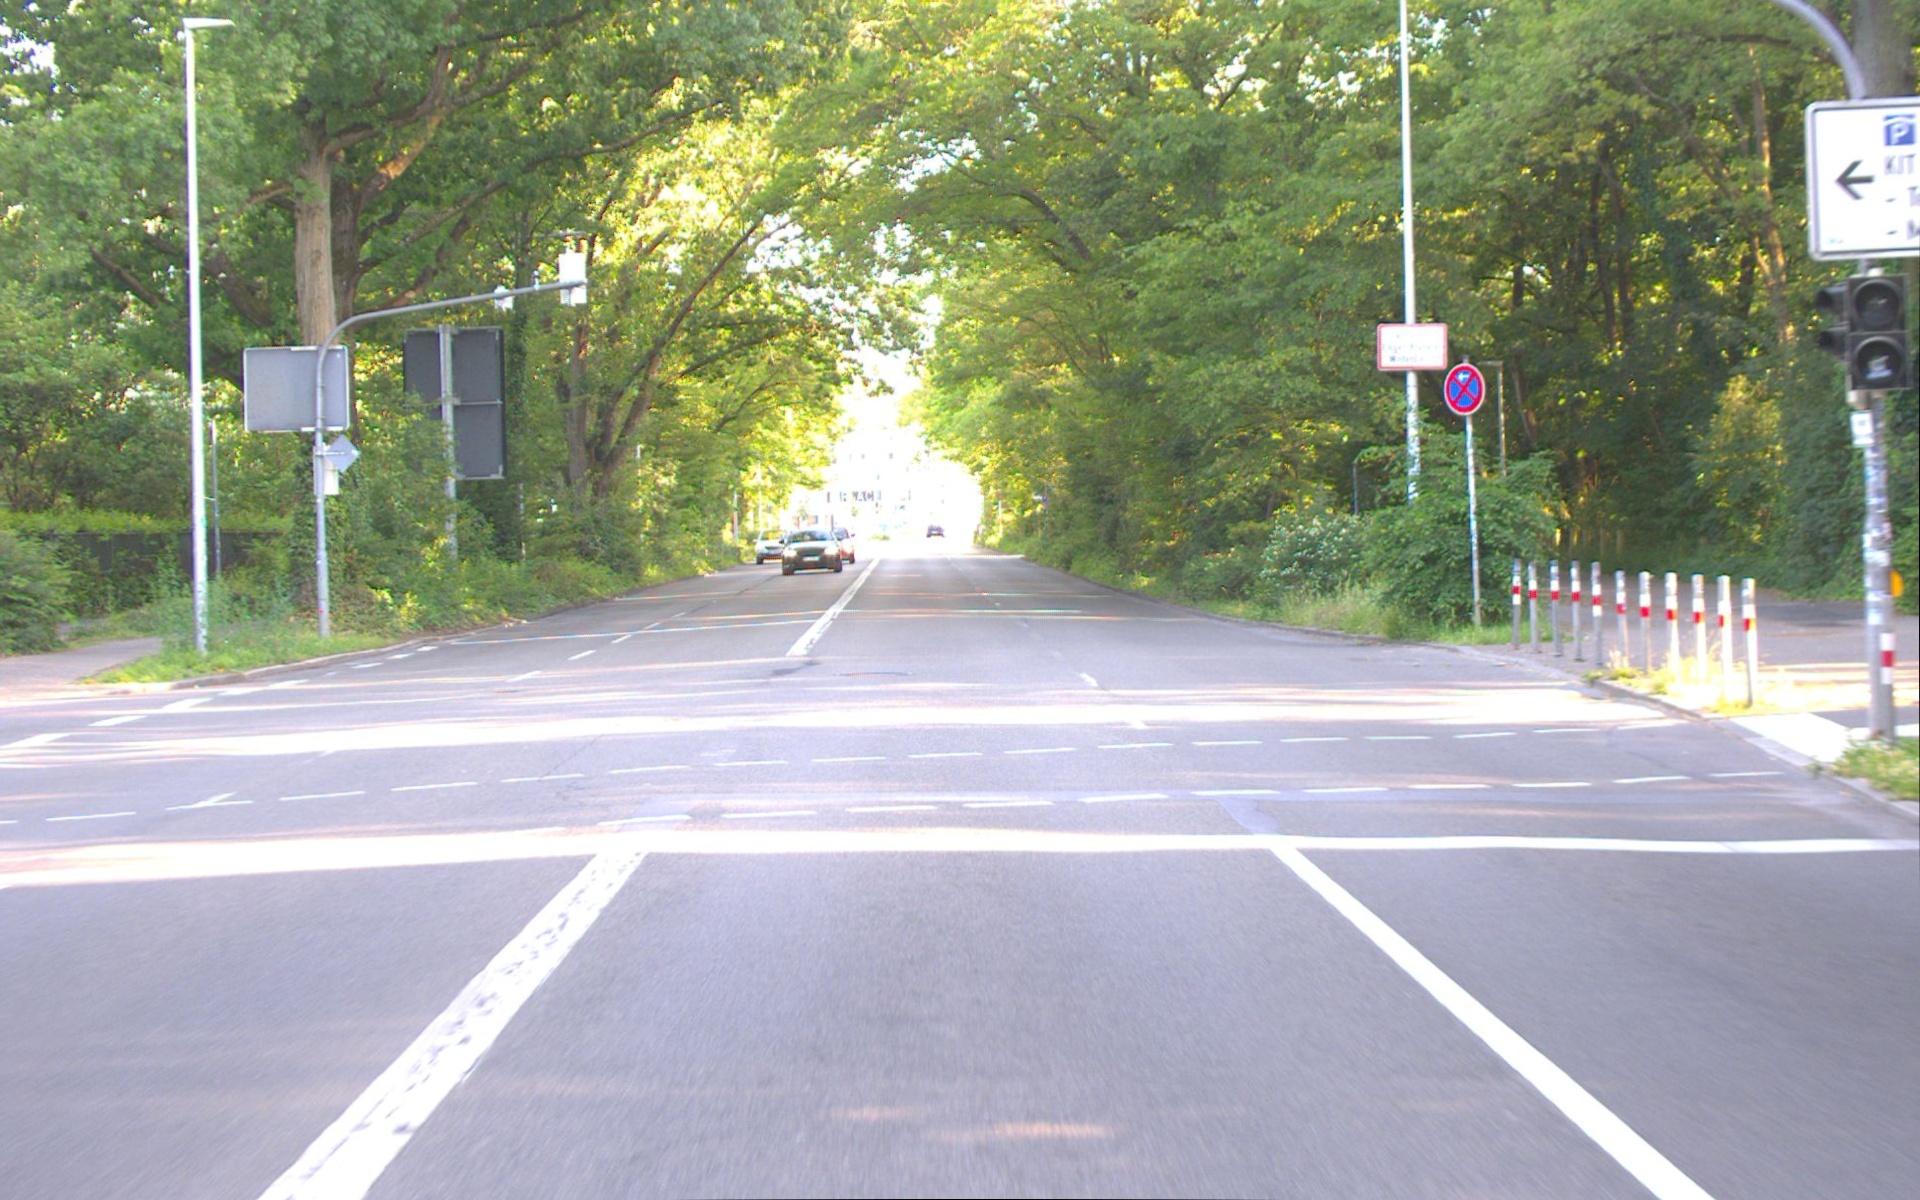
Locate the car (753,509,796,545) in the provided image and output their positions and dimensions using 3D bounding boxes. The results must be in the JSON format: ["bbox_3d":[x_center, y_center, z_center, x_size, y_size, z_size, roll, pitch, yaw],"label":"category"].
[{"bbox_3d":[-8.265,-3.243,153.521,1.797,1.501,4.365,-2,1,-2],"label":"car"}]

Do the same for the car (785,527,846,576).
[{"bbox_3d":[-4.724,-1.593,112.602,1.887,1.501,4.365,-2,1,-2],"label":"car"}]

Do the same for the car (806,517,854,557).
[{"bbox_3d":[-5.155,-2.487,136.633,1.797,1.501,4.365,-2,1,-2],"label":"car"}]
